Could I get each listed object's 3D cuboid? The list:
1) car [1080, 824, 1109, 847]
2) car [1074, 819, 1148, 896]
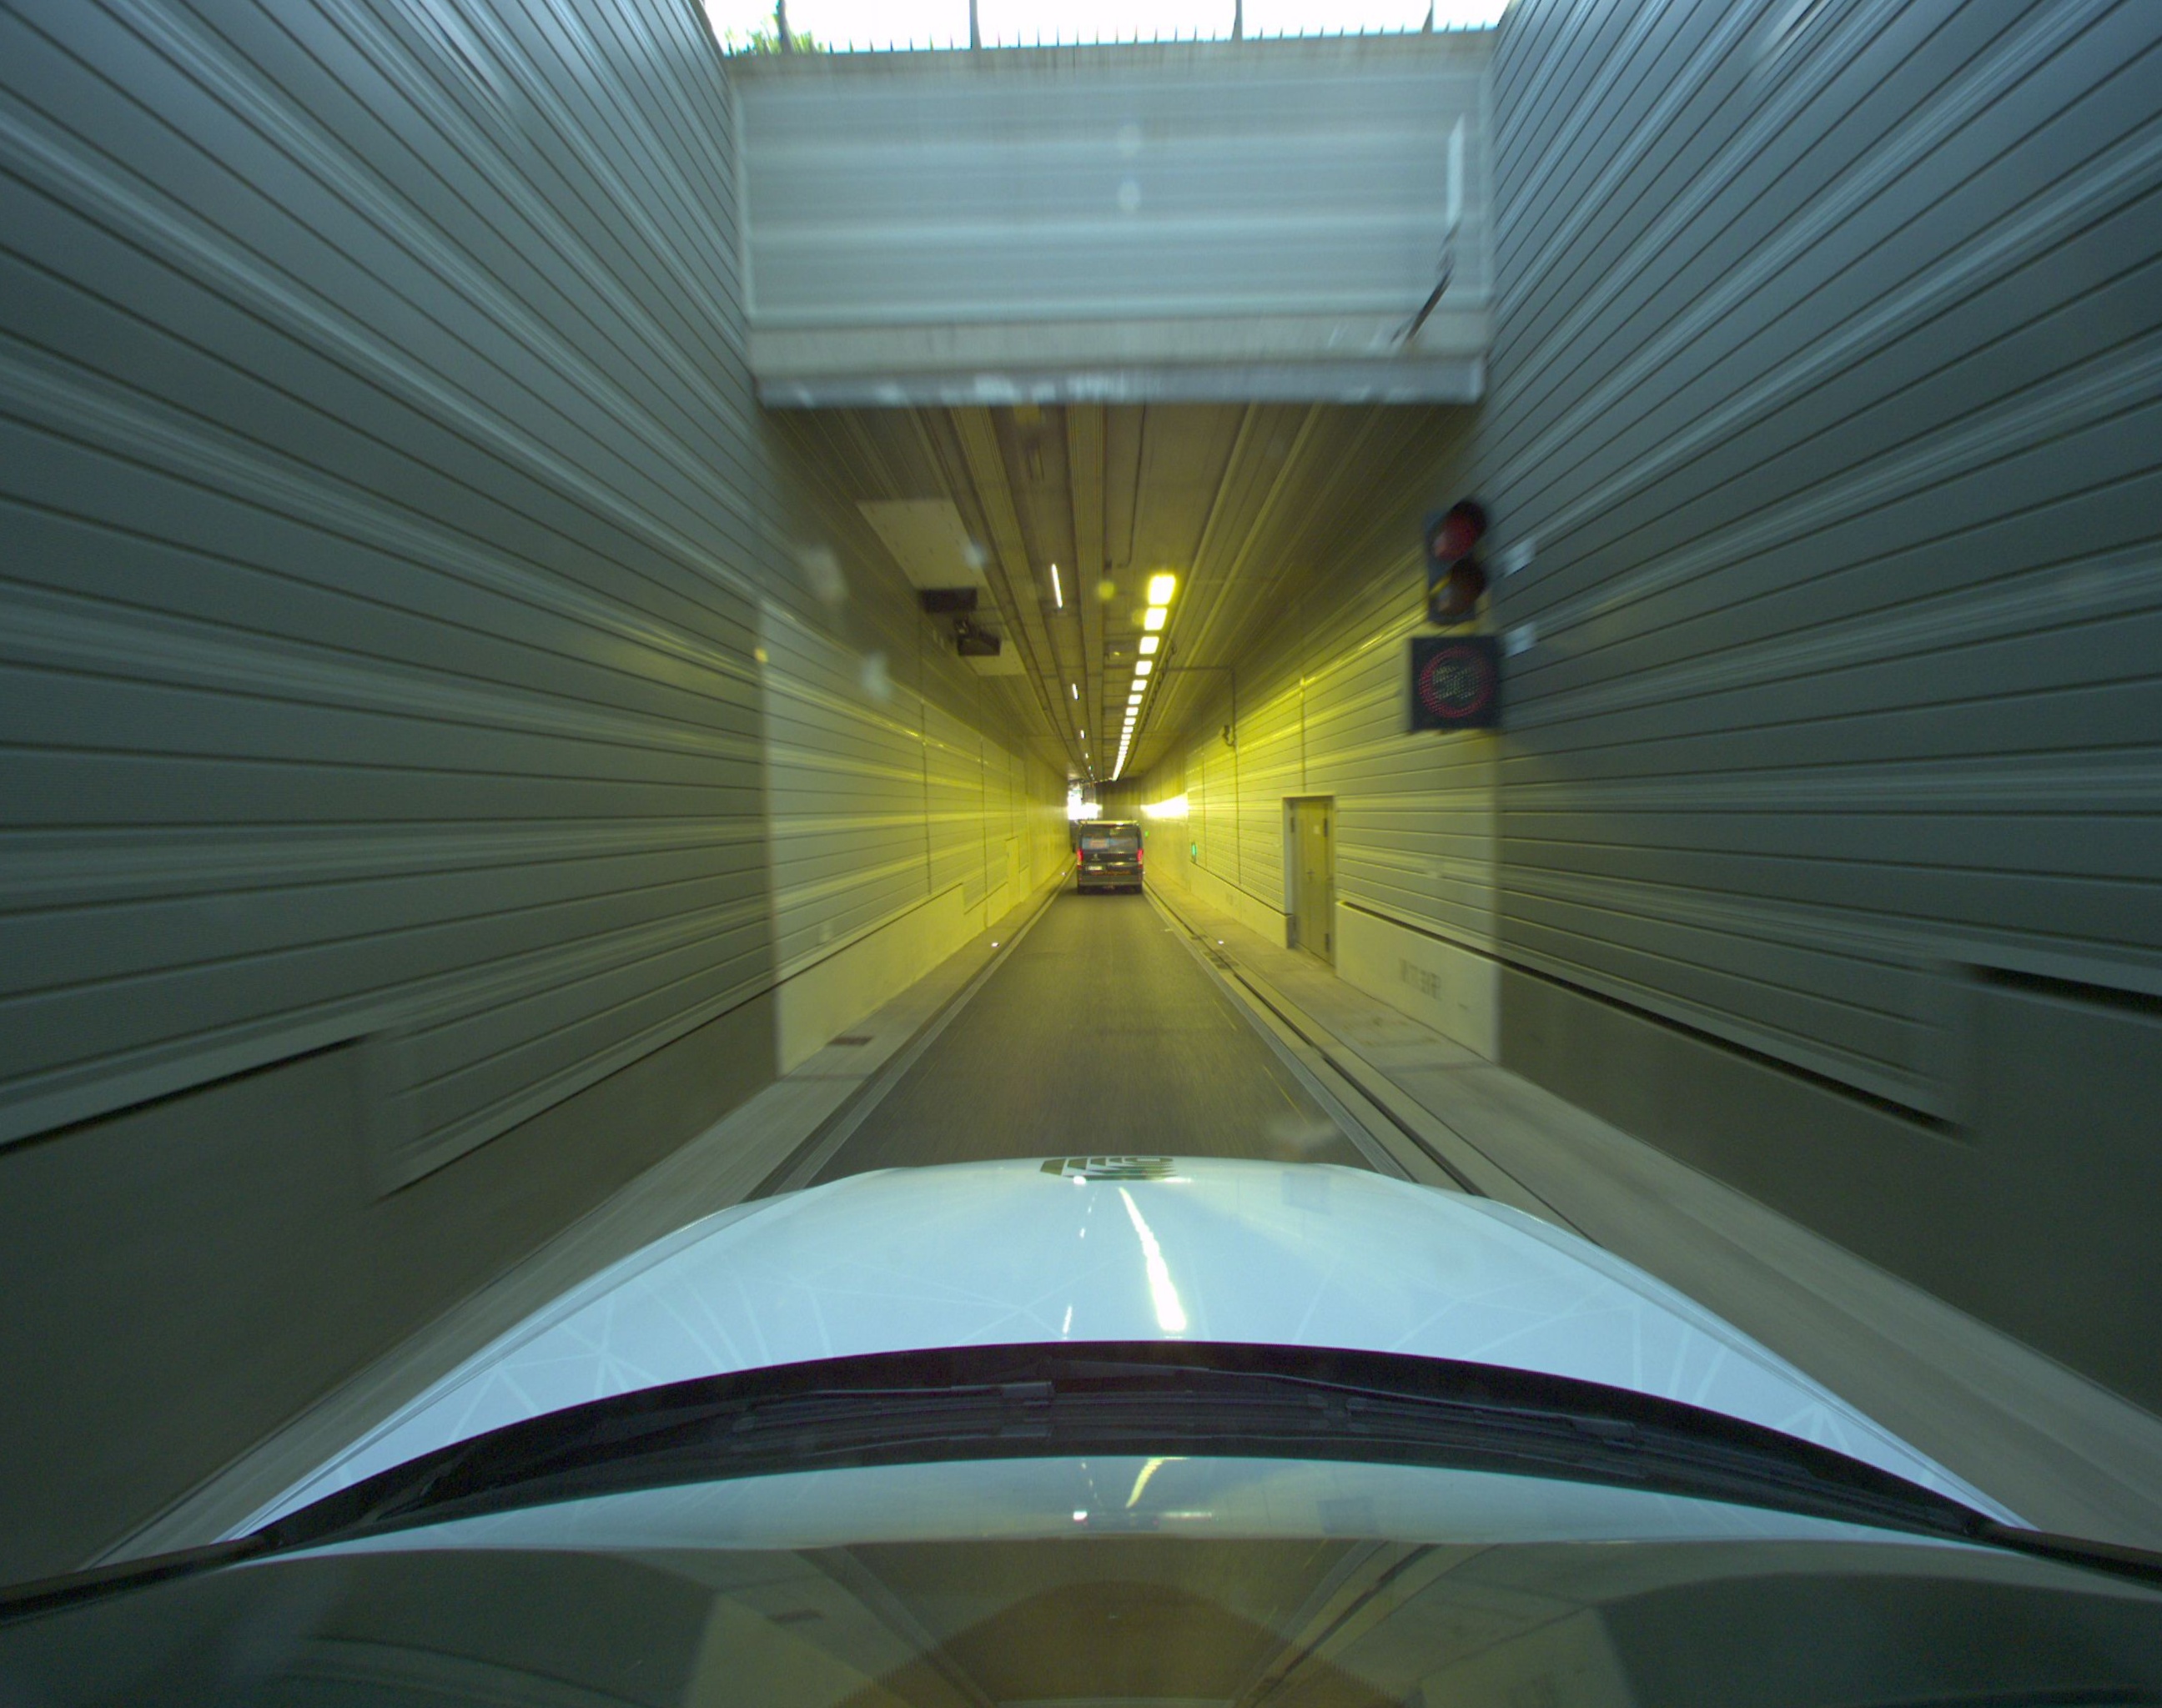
[{"bbox_3d":[1.008,-1.458,62.679,2.078,1.513,4.637,-2,4,0],"label":"car"},{"bbox_3d":[0.939,0.035,26.595,2.150,2.265,4.639,-1,2,1],"label":"car"}]
